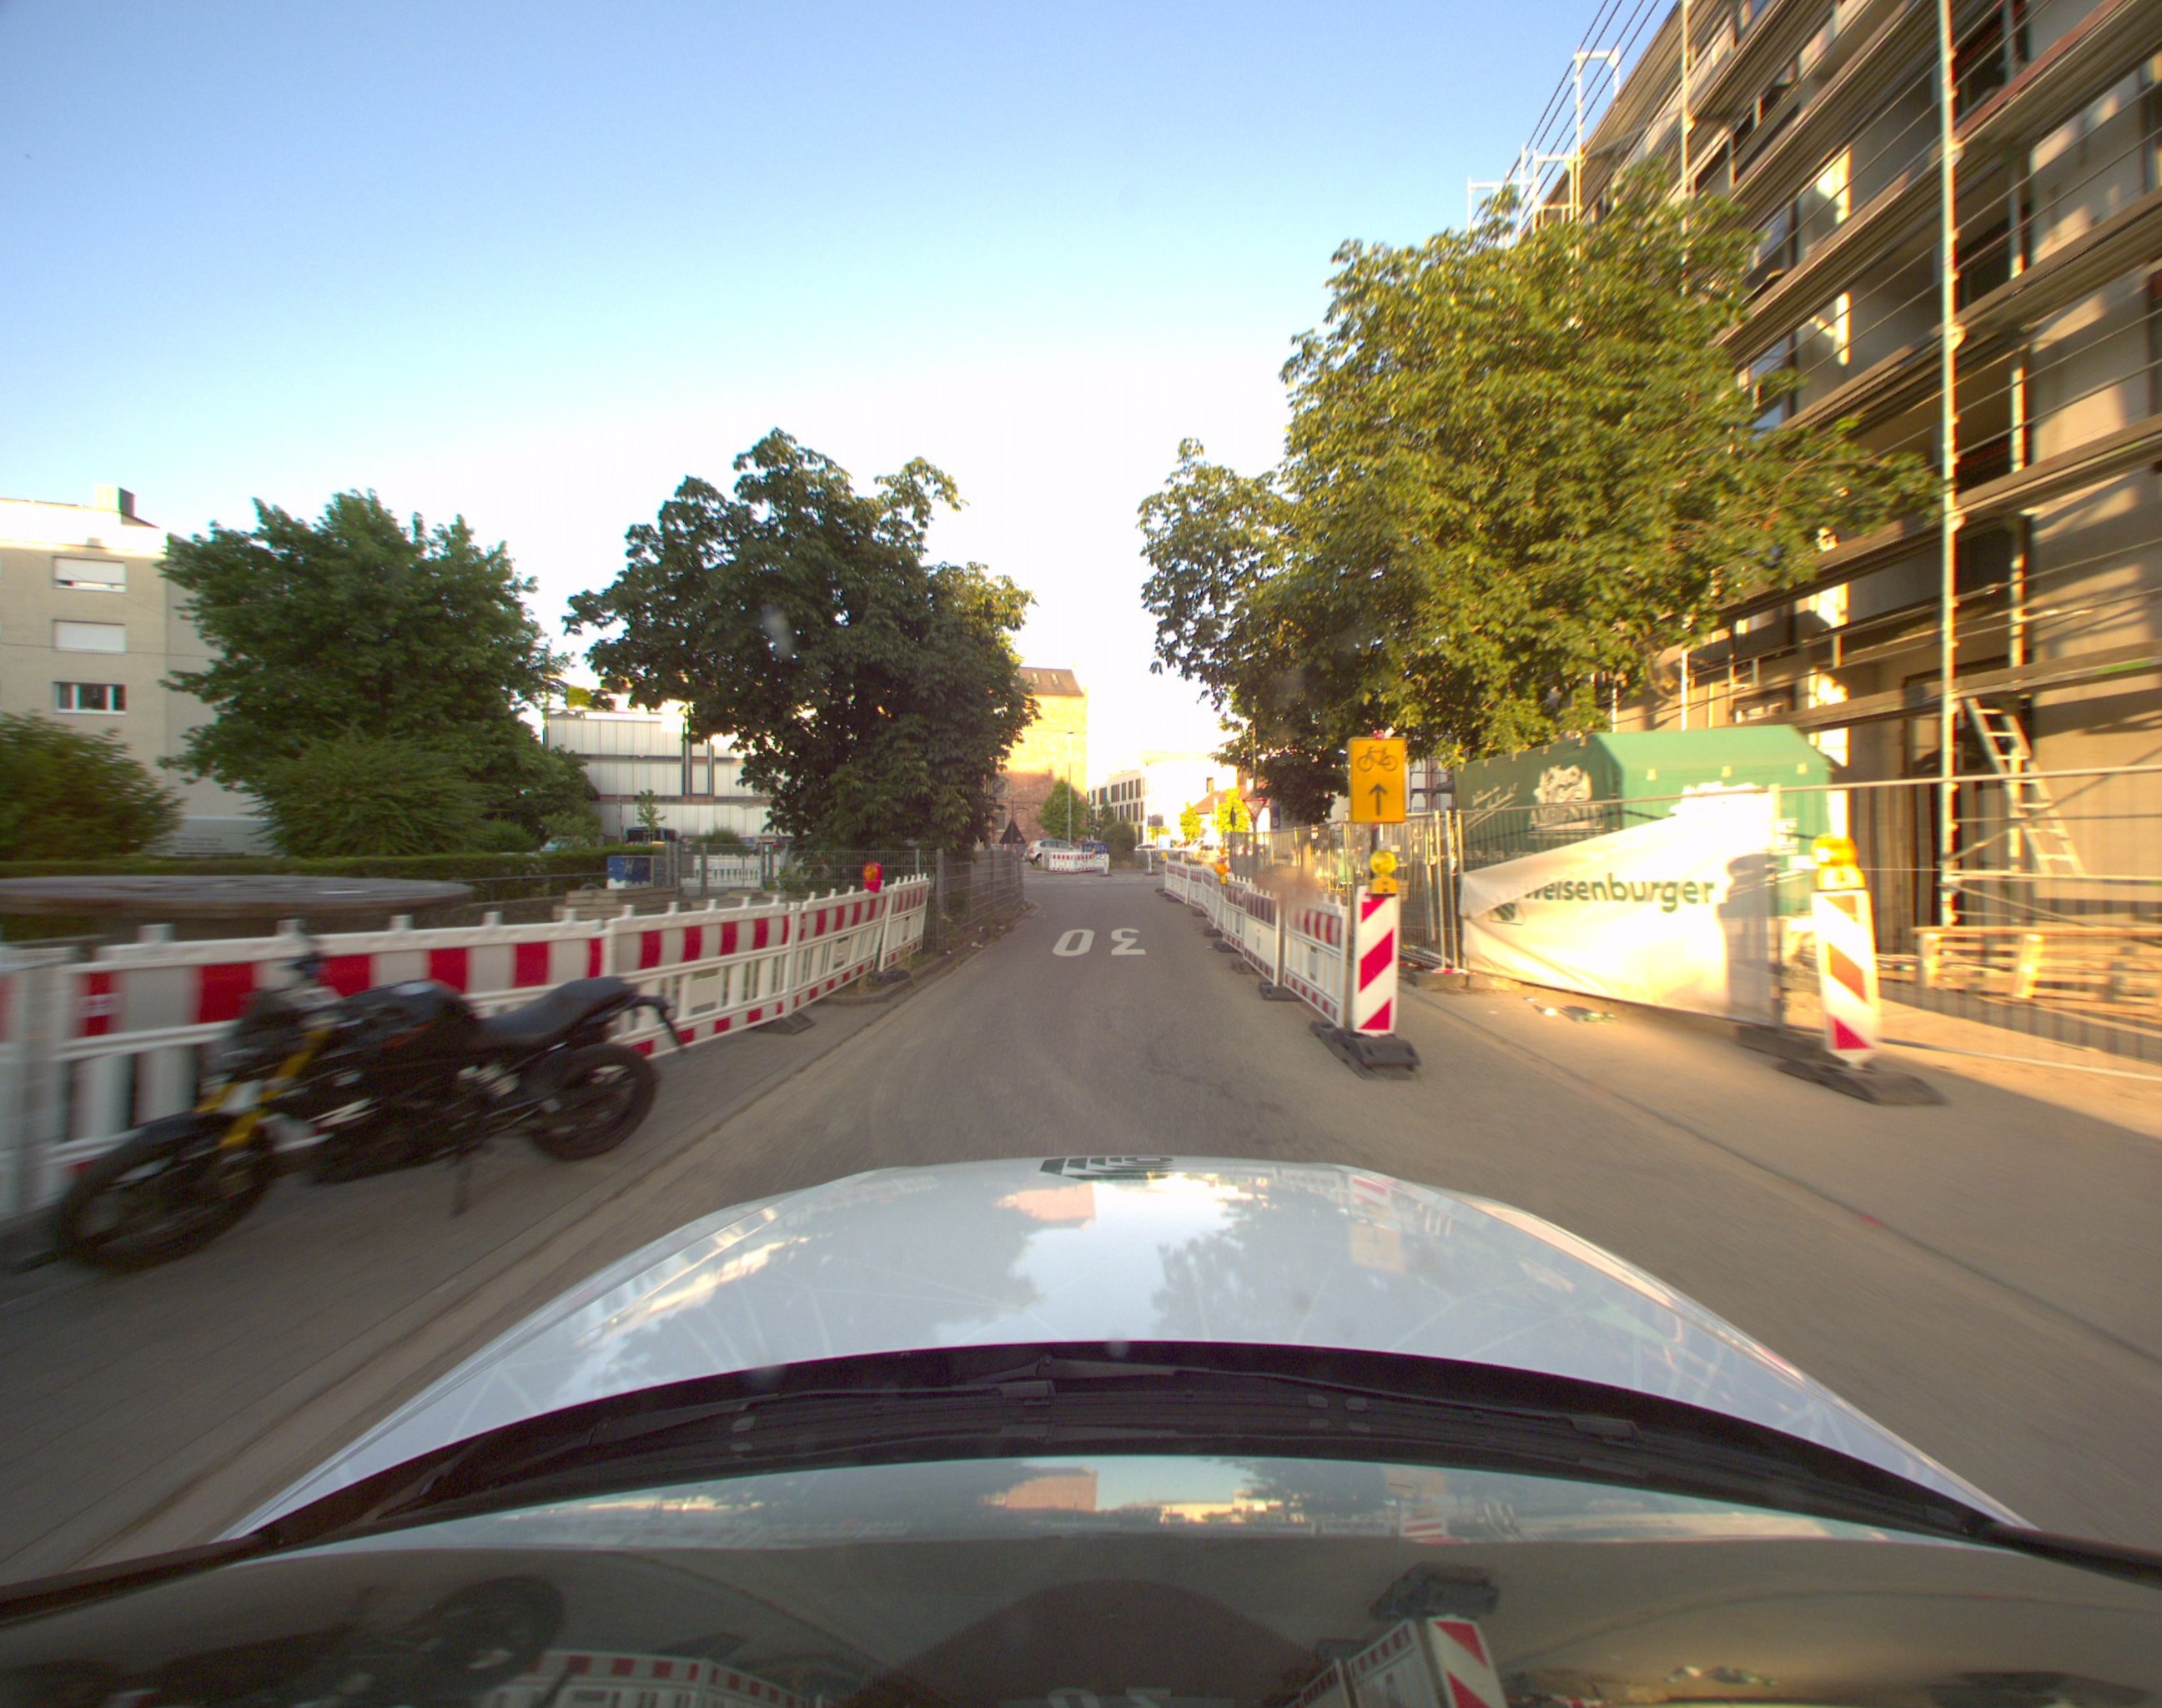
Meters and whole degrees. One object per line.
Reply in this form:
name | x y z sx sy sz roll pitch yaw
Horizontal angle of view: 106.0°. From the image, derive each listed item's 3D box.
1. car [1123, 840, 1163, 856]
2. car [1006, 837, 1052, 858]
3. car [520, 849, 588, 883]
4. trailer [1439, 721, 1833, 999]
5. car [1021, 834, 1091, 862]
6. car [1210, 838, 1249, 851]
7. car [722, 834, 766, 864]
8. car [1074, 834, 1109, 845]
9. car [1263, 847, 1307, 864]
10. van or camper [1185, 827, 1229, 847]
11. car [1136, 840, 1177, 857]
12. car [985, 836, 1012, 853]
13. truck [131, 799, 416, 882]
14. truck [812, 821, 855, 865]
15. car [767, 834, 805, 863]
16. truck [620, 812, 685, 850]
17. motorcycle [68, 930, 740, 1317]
car | 6.293 -0.642 82.727 3.751 1.603 1.676 0 0 -19
car | -4.225 -0.536 65.877 3.483 1.708 1.659 -1 1 -16
car | -29.781 0.628 46.158 1.997 1.826 4.204 -1 1 -15
trailer | 6.014 0.031 9.582 1.985 2.539 4.190 0 1 3
car | -1.607 -0.412 52.944 4.278 1.708 1.693 -1 1 -16
car | 15.975 -1.036 87.648 3.751 1.445 1.676 0 0 -19
car | -20.303 -0.332 49.241 1.998 1.727 4.276 0 1 -17
car | 1.284 -1.750 98.898 3.995 1.313 1.867 0 2 -16
car | 19.388 0.108 77.339 3.751 1.529 1.676 0 0 -19
van or camper | 14.713 -1.949 95.163 4.977 2.240 1.676 0 0 -19
car | 7.403 -0.544 79.868 3.751 1.603 1.676 0 0 -19
car | -7.882 -0.890 77.573 1.899 1.537 4.159 0 1 -15
truck | -25.364 -0.452 25.938 6.047 2.422 2.094 -1 2 -20
truck | -15.414 -0.690 50.976 2.337 2.616 4.949 0 1 -14
car | -18.133 -0.379 50.218 1.998 1.692 3.977 0 1 -17
truck | -24.826 -1.290 47.336 2.107 2.090 4.495 -1 1 -12
motorcycle | -2.698 0.951 3.644 0.532 1.021 2.225 3 1 32
